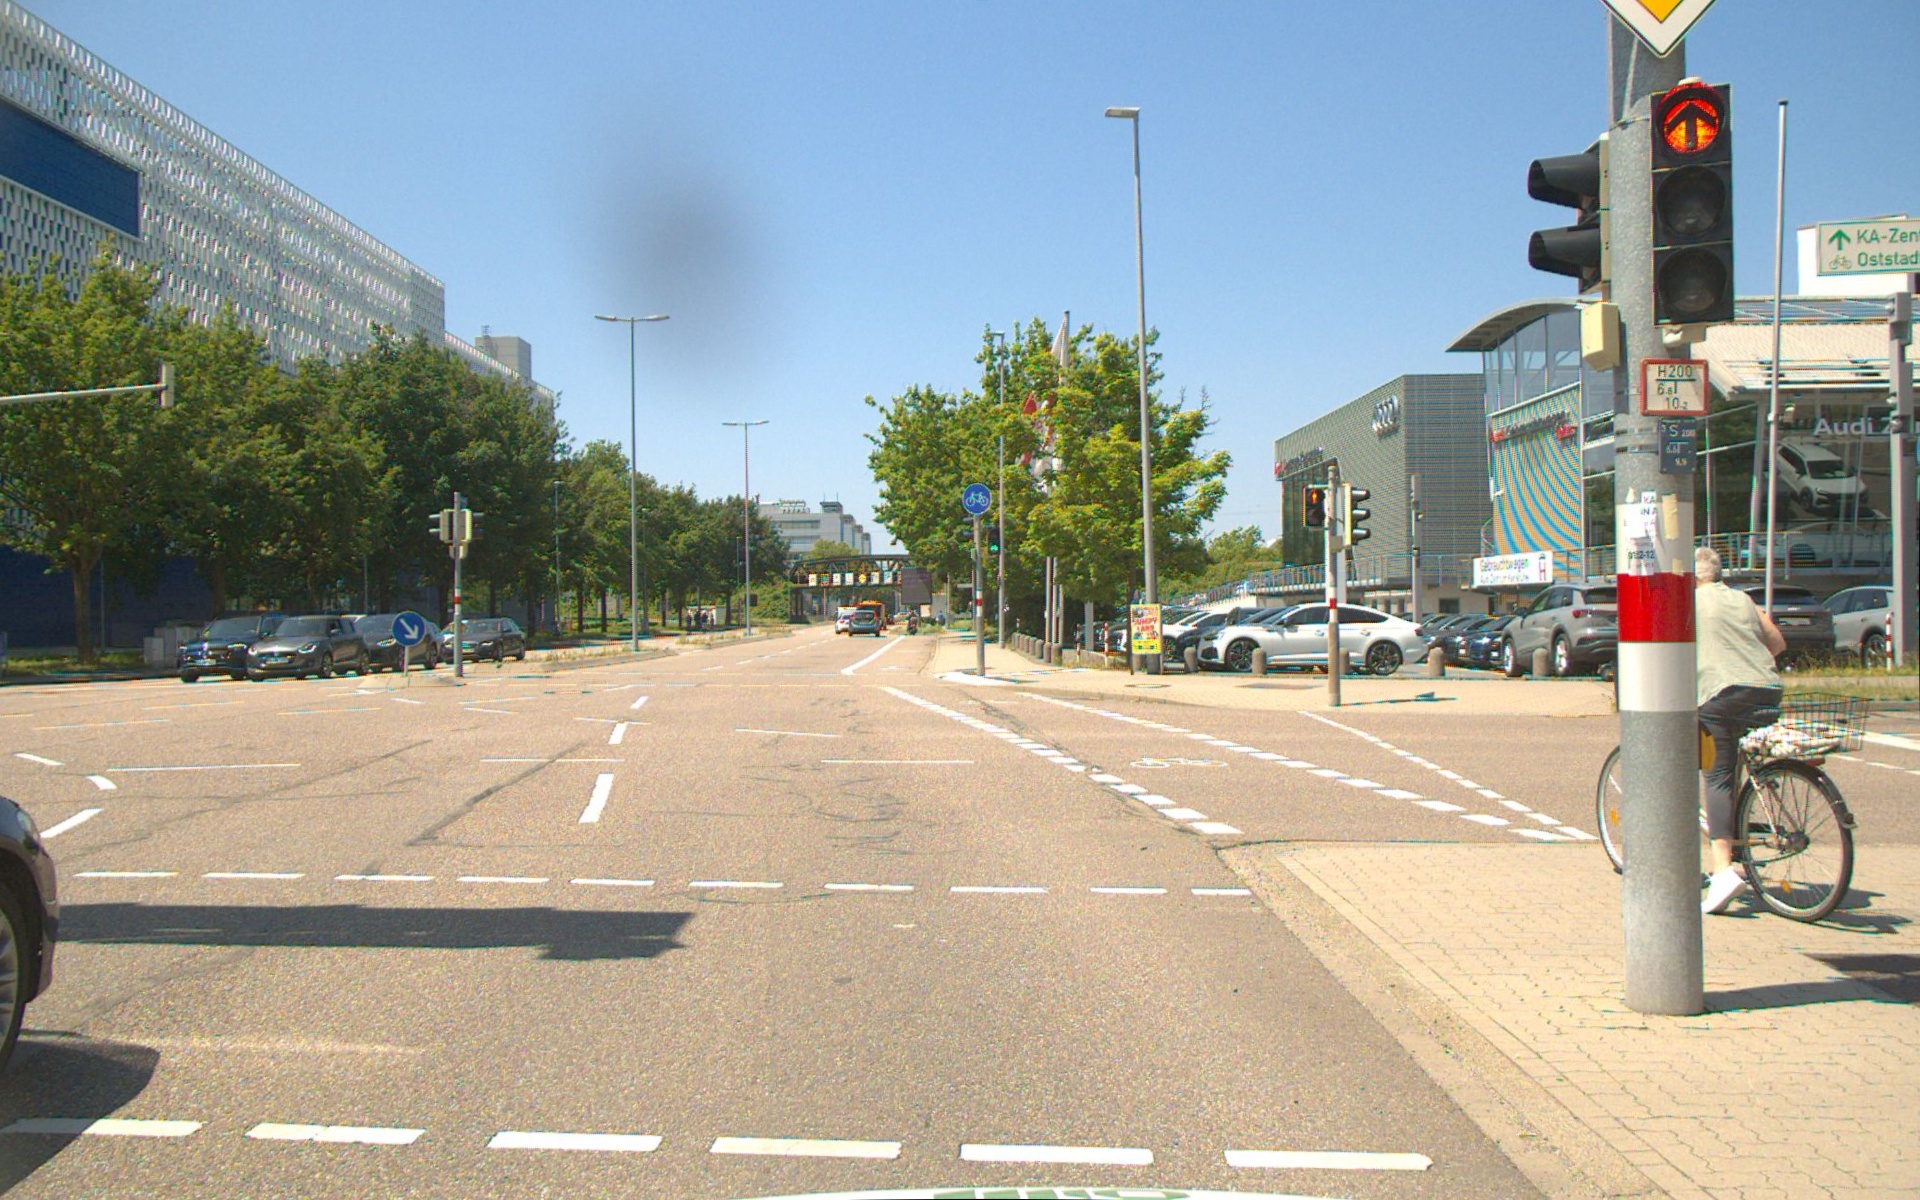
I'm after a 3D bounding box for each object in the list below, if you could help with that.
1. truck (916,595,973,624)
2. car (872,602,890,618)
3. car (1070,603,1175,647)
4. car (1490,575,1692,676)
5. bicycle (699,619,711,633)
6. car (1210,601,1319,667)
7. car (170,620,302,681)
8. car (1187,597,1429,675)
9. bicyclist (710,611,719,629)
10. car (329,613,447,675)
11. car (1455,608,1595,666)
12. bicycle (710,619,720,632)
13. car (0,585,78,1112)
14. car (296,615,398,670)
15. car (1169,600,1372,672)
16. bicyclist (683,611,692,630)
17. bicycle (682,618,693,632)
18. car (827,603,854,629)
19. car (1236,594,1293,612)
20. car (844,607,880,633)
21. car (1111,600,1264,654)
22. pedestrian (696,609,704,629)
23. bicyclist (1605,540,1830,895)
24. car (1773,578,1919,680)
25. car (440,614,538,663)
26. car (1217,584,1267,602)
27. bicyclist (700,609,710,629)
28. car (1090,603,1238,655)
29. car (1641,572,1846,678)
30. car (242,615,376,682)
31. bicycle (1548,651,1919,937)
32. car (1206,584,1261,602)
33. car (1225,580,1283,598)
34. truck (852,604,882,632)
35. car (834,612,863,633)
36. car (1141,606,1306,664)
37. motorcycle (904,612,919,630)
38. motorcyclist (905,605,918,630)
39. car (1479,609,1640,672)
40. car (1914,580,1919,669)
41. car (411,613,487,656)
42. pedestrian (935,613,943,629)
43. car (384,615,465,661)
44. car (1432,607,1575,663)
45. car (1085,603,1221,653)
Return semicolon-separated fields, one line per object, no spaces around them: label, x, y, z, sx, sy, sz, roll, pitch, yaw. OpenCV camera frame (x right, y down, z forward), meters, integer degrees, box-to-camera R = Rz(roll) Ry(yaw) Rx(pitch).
truck;-1.584;1.023;171.130;5.571;2.900;2.581;1;-1;-44
car;-10.466;1.302;218.805;1.952;2.049;4.001;-2;0;2
car;5.881;0.903;60.287;3.607;1.479;1.833;2;-1;-1
car;11.017;0.476;29.253;1.830;1.586;4.503;-2;-2;0
bicycle;-22.110;2.240;143.529;0.724;1.145;2.433;-1;0;-2
car;7.281;0.793;39.942;1.824;1.444;4.663;2;-1;1
car;-18.353;1.259;42.101;1.627;1.449;4.037;-2;-1;-1
car;6.948;0.710;33.365;4.497;1.415;1.869;2;-1;1
bicyclist;-23.004;1.866;154.850;0.621;1.657;1.044;-3;-1;-2
car;-15.403;1.164;44.765;1.691;1.531;4.243;-3;-1;0
car;16.752;1.089;49.105;3.573;1.608;1.642;2;-1;-1
bicycle;-22.985;2.352;154.923;0.616;1.179;2.116;-3;0;-2
car;-3.457;0.688;2.725;1.762;1.466;4.554;0;0;-3
car;-18.597;1.285;50.348;1.691;1.571;3.914;-2;-1;-1
car;6.661;0.765;35.812;4.013;1.415;1.868;2;-1;-1
bicyclist;-23.249;1.768;141.143;0.624;1.610;0.884;-1;-1;-1
bicycle;-23.233;2.138;141.205;0.624;1.153;1.970;-1;-1;-1
car;-9.585;1.295;133.205;1.953;2.049;3.998;-1;0;-2
car;21.322;0.214;115.807;3.652;1.150;1.682;1;-1;-5
car;-5.596;1.128;94.687;1.862;1.400;4.230;-1;0;-2
car;6.361;0.743;46.557;4.016;1.372;1.868;2;-1;-1
pedestrian;-25.562;1.868;162.480;0.728;1.917;0.577;-1;-1;0
bicyclist;3.686;0.547;8.094;0.617;1.634;0.823;1;-1;-14
car;16.379;0.511;29.229;1.808;1.683;3.994;2;-1;-5
car;-15.460;1.257;54.525;1.691;1.471;4.720;-3;-1;2
car;21.377;-0.549;125.323;3.455;1.261;1.675;1;-1;-5
bicyclist;-22.113;1.681;143.422;0.730;1.715;0.952;-1;-1;-2
car;6.067;0.853;49.458;4.140;1.415;1.868;2;-1;-1
car;13.650;0.421;29.062;1.806;1.683;3.999;2;-1;2
car;-15.075;1.108;38.498;1.610;1.413;3.715;-3;-1;0
bicycle;3.687;0.859;8.075;0.617;1.153;1.888;0;0;-13
car;21.428;-0.524;129.632;3.909;1.335;1.795;1;-1;-5
car;21.499;-0.809;121.081;3.862;1.232;1.715;0;-1;-5
truck;-8.425;1.642;150.851;2.408;2.452;7.132;1;0;-1
car;-7.908;1.585;117.827;1.885;1.445;3.998;0;0;-2
car;6.934;0.906;43.786;4.013;1.388;1.874;2;-1;-1
motorcycle;-3.123;1.326;105.888;0.703;1.124;1.825;1;-1;-10
motorcyclist;-3.126;1.111;105.993;0.706;1.556;0.868;1;-1;-11
car;16.840;1.124;46.558;3.904;1.650;1.656;2;-1;-1
car;18.728;0.478;28.989;1.604;1.644;3.814;0;1;-5
car;-19.470;1.306;63.145;1.708;1.512;3.999;-2;-1;-1
pedestrian;-1.803;1.793;141.630;0.611;1.399;0.564;-1;-1;-3
car;-18.795;1.313;58.203;1.616;1.512;3.914;-2;-1;-1
car;16.828;1.077;51.313;3.901;1.601;1.633;2;-1;-1
car;6.069;0.872;52.297;4.017;1.429;1.868;2;-1;-1
